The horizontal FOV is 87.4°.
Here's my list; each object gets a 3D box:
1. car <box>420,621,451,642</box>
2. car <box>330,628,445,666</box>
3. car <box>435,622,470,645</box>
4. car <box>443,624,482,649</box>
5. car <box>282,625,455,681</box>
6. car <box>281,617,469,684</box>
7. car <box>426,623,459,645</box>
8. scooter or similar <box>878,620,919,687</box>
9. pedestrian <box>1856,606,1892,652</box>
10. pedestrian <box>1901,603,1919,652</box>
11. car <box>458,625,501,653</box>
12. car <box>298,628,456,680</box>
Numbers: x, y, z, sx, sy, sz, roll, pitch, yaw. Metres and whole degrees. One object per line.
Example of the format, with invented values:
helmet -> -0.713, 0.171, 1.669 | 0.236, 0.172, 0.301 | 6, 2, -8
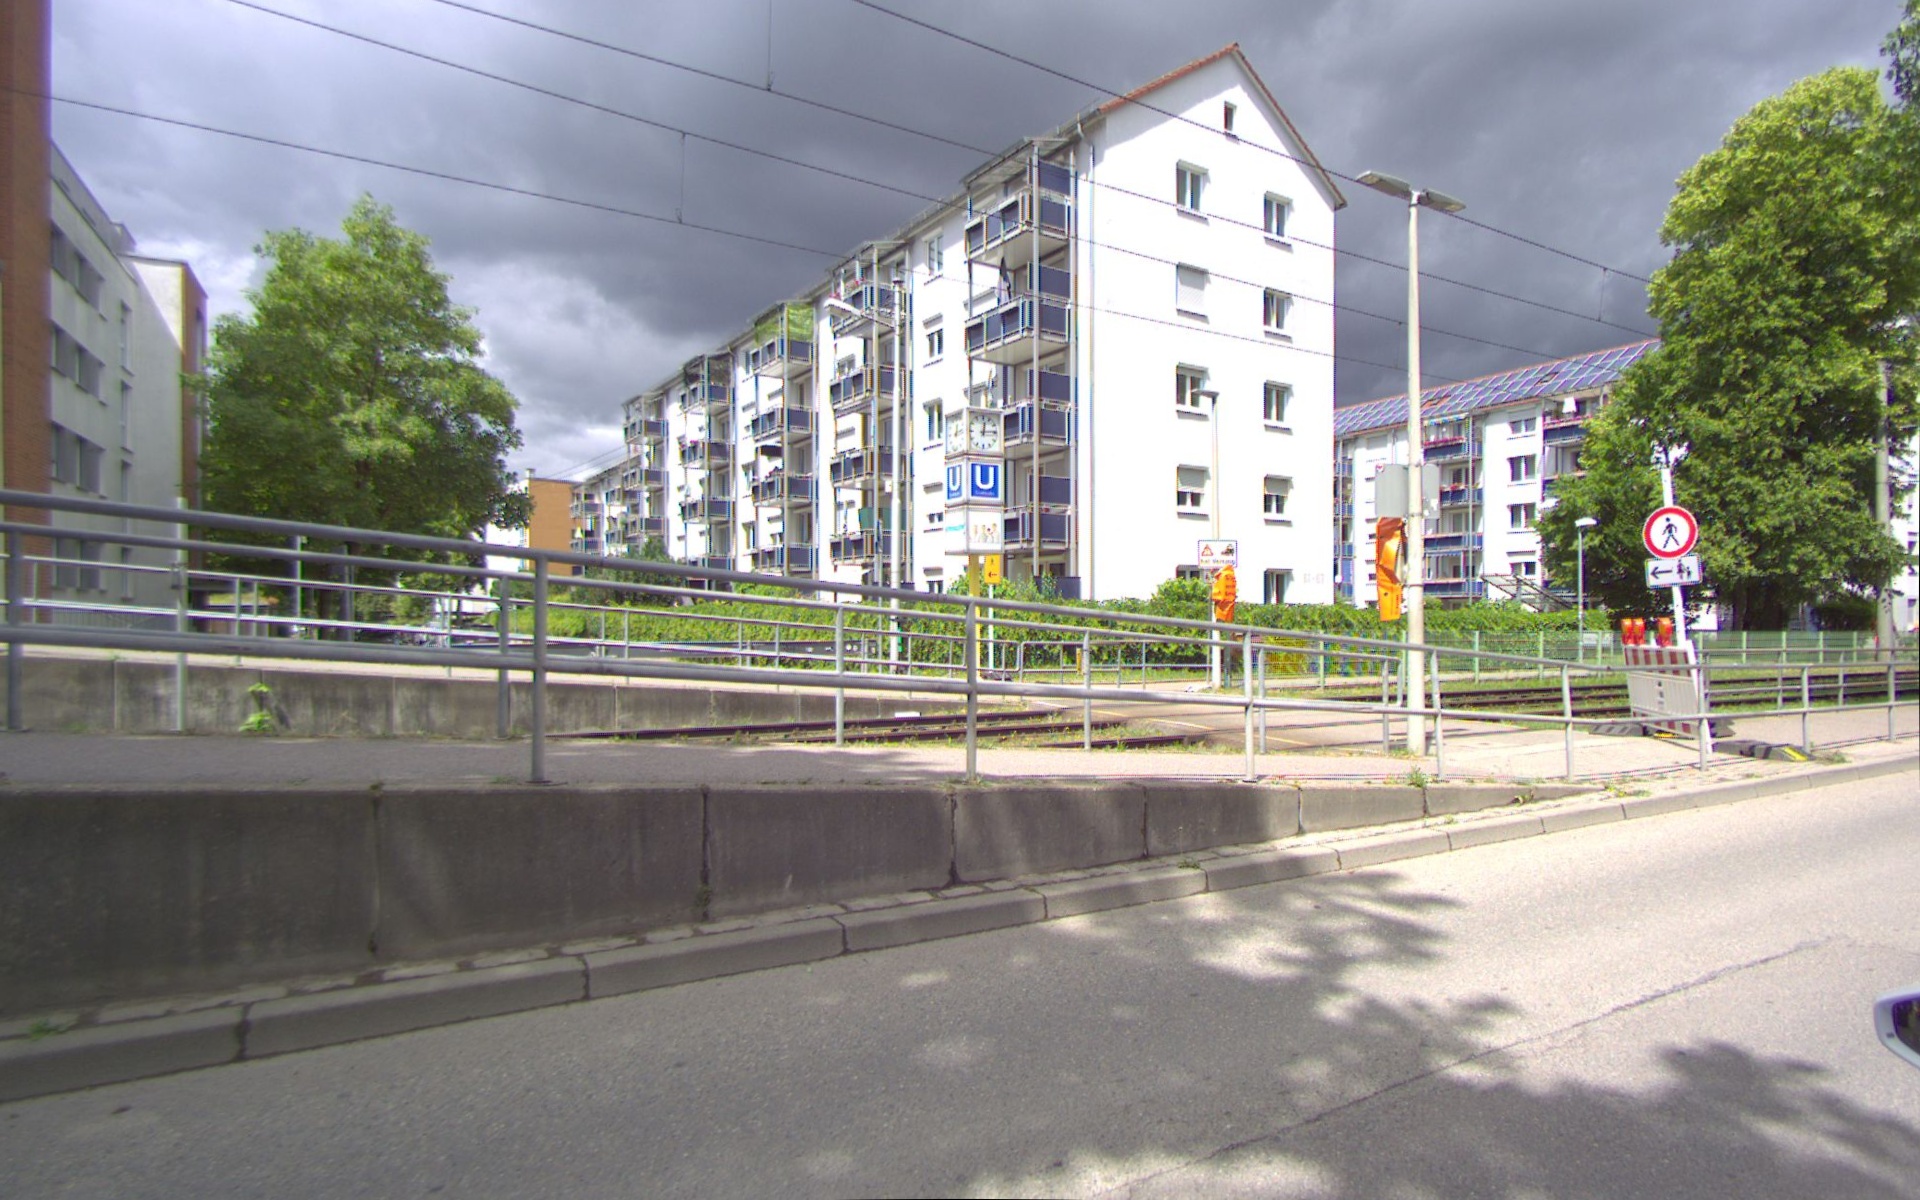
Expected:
car -> -39.291, 2.319, 75.262 | 1.915, 1.506, 3.969 | 0, -1, -30
car -> -23.314, 1.894, 41.077 | 3.948, 1.445, 1.837 | 1, -1, -27
car -> -34.019, 2.203, 67.282 | 1.915, 1.506, 3.969 | 0, -1, -30
car -> -31.000, 2.253, 62.531 | 1.915, 1.506, 3.969 | 0, -1, -30
car -> -16.201, 1.429, 27.765 | 3.948, 1.445, 1.837 | 1, -1, -27
car -> -14.600, 1.232, 25.313 | 3.950, 1.572, 1.887 | 1, -1, -28
car -> -36.725, 2.369, 71.249 | 1.915, 1.506, 3.969 | 0, -1, -30
scooter or similar -> -1.208, 1.021, 19.591 | 0.458, 1.270, 1.295 | 0, -1, -20
pedestrian -> 33.488, 1.047, 36.798 | 0.857, 1.647, 0.728 | 1, 0, -30
pedestrian -> 34.536, 1.002, 36.177 | 0.857, 1.741, 0.696 | 1, 1, -30
car -> -27.374, 2.201, 57.180 | 1.915, 1.506, 3.969 | 0, -1, -30
car -> -17.216, 1.569, 29.900 | 3.948, 1.445, 1.837 | 1, -1, -27
